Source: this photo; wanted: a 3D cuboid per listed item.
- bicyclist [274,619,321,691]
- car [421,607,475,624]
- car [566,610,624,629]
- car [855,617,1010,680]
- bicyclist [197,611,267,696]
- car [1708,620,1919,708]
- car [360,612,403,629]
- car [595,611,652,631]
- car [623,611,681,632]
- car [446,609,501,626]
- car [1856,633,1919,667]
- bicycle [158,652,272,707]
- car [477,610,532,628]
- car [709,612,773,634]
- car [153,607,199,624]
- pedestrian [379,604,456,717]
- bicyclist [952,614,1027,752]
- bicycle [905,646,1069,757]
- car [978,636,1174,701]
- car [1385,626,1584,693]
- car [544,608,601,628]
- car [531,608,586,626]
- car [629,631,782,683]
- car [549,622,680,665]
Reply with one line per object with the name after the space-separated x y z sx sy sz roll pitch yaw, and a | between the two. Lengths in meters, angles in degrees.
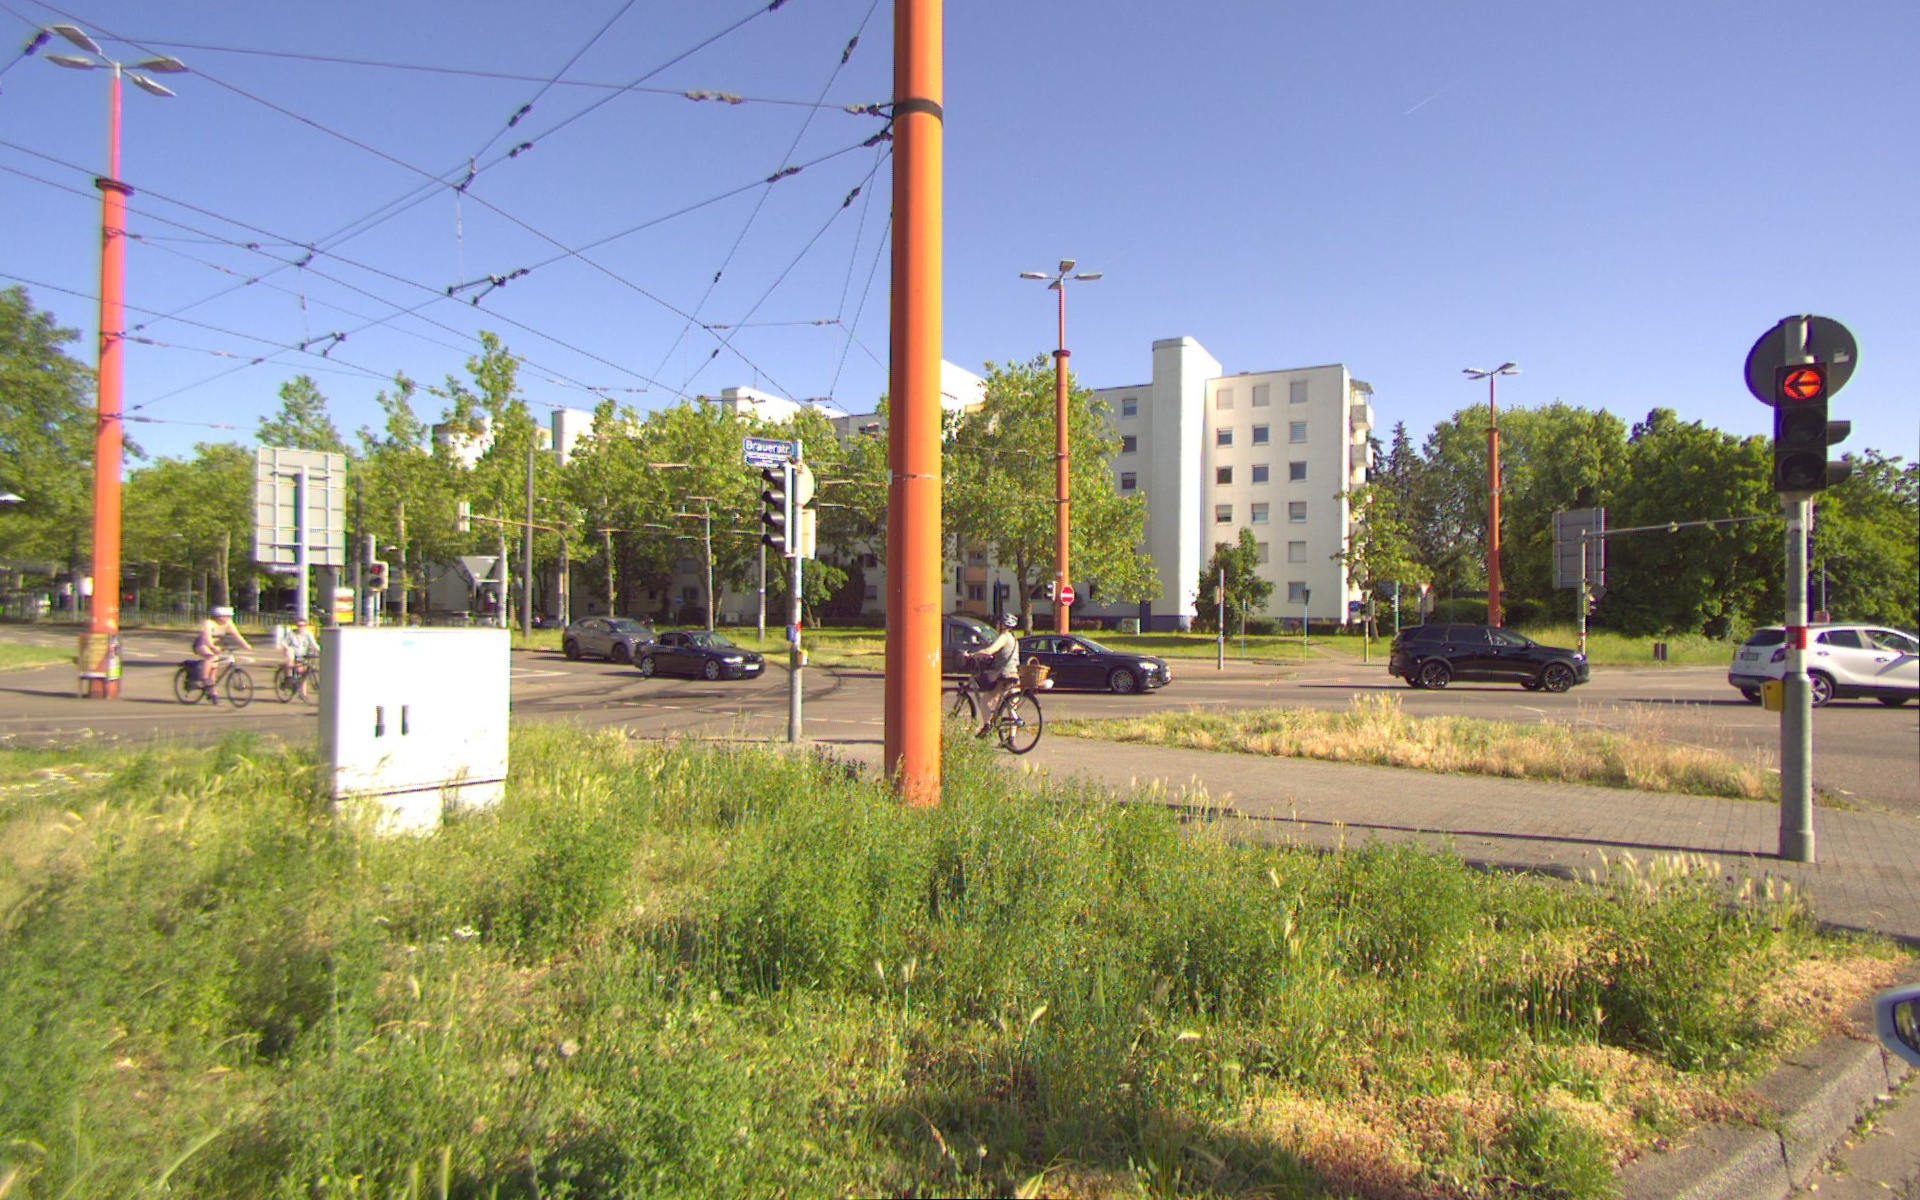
-13.141 1.079 19.940 0.616 1.399 0.443 1 -1 -1 | bicyclist
-44.785 1.382 87.902 3.935 1.428 1.794 1 -1 -17 | car
-27.573 1.481 75.926 3.934 1.428 1.794 1 -1 -16 | car
-0.821 1.408 29.843 4.226 1.730 1.850 0 -1 25 | car
-13.766 0.999 19.018 0.752 1.565 0.732 1 -1 -1 | bicyclist
17.986 1.263 20.345 4.166 1.658 1.830 1 -1 9 | car
-48.912 1.751 84.898 3.938 1.416 1.749 0 -1 38 | car
-24.992 1.552 74.702 3.934 1.428 1.794 1 -1 -16 | car
-22.251 1.543 72.651 3.934 1.428 1.794 1 -1 -16 | car
-41.430 1.481 85.632 3.935 1.428 1.794 1 -1 -17 | car
37.159 1.960 39.625 3.571 1.260 1.730 1 -1 -31 | car
-14.029 1.490 18.948 1.612 0.974 0.685 1 -1 -1 | bicycle
-38.027 1.563 83.890 3.935 1.428 1.794 1 -1 -17 | car
-14.538 1.547 66.848 1.770 1.428 3.987 0 -1 35 | car
-93.983 1.874 120.464 1.969 2.040 3.984 0 -1 38 | car
-9.124 0.991 16.902 0.947 1.817 0.977 1 -1 -40 | pedestrian
0.361 0.983 12.213 0.651 1.605 0.671 0 -1 33 | bicyclist
0.315 1.191 12.222 1.915 1.210 0.690 0 -1 33 | bicycle
2.726 1.550 23.493 4.276 1.368 1.766 0 -1 19 | car
13.246 1.477 25.641 4.176 1.566 1.859 0 -1 13 | car
-30.072 1.414 78.081 3.934 1.428 1.794 1 -1 -16 | car
-31.934 1.364 79.978 3.935 1.428 1.794 1 -1 -17 | car
-7.432 1.612 29.266 4.284 1.368 1.763 0 -1 29 | car
-12.437 1.539 36.191 4.351 1.441 1.836 0 -2 23 | car
